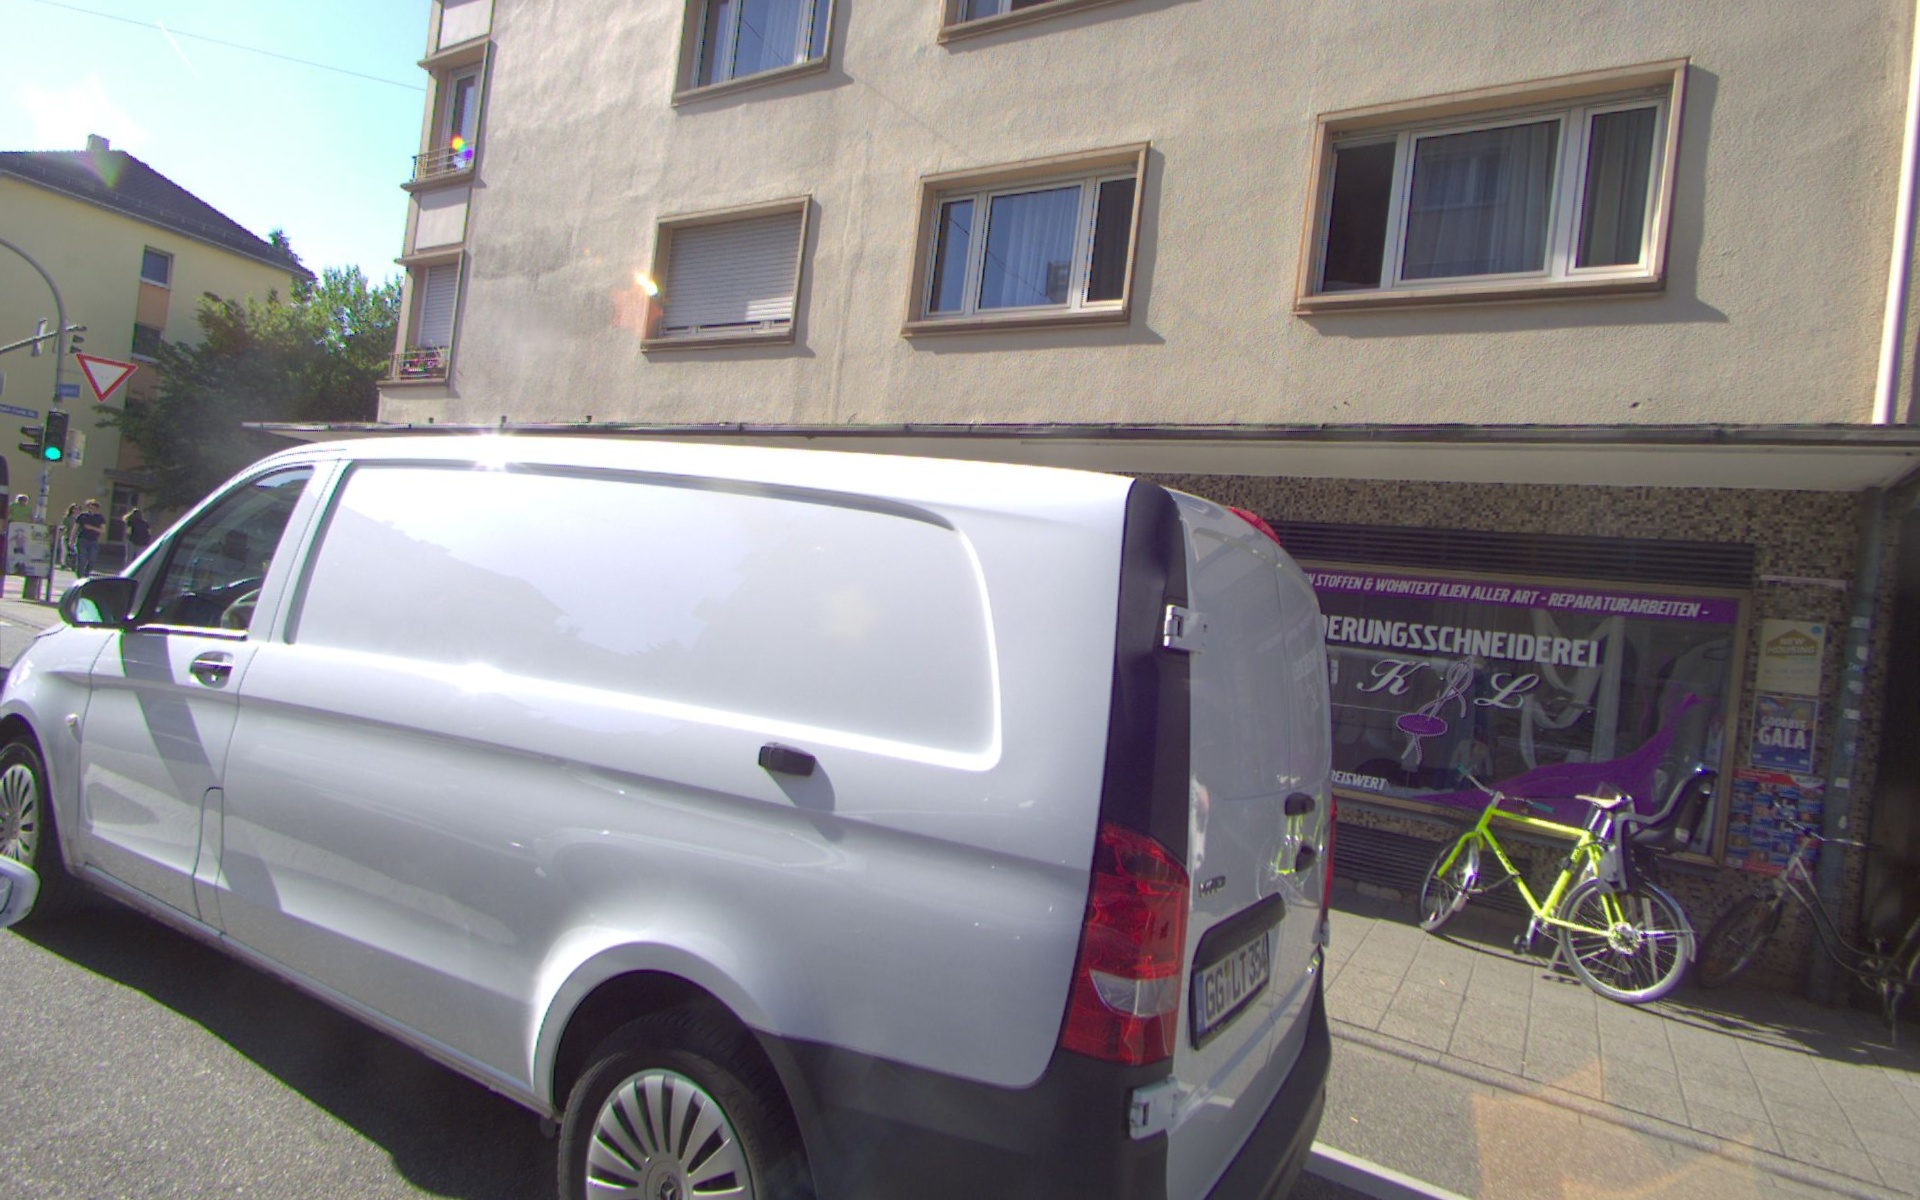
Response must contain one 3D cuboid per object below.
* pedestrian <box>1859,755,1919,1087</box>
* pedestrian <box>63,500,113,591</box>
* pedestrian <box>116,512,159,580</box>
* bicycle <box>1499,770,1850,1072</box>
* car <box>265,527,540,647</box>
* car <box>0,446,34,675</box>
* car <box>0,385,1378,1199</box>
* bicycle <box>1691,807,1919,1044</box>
[{"bbox_3d":[4.877,1.539,4.755,0.614,1.460,0.775,7,0,27],"label":"pedestrian"},{"bbox_3d":[-18.498,-1.155,21.341,0.620,1.844,0.602,7,0,45],"label":"pedestrian"},{"bbox_3d":[-20.431,-1.348,24.984,0.530,1.590,0.540,7,0,32],"label":"pedestrian"},{"bbox_3d":[3.757,1.634,5.472,0.710,1.120,1.495,7,-1,0],"label":"bicycle"},{"bbox_3d":[-10.215,-0.168,18.739,1.795,1.682,3.994,7,-2,32],"label":"car"},{"bbox_3d":[-10.535,-0.611,8.923,4.972,1.961,1.973,6,-3,32],"label":"car"},{"bbox_3d":[-1.313,0.474,3.502,4.751,1.832,1.972,6,-1,31],"label":"car"},{"bbox_3d":[4.758,1.752,5.453,1.155,0.994,0.376,7,0,29],"label":"bicycle"}]
